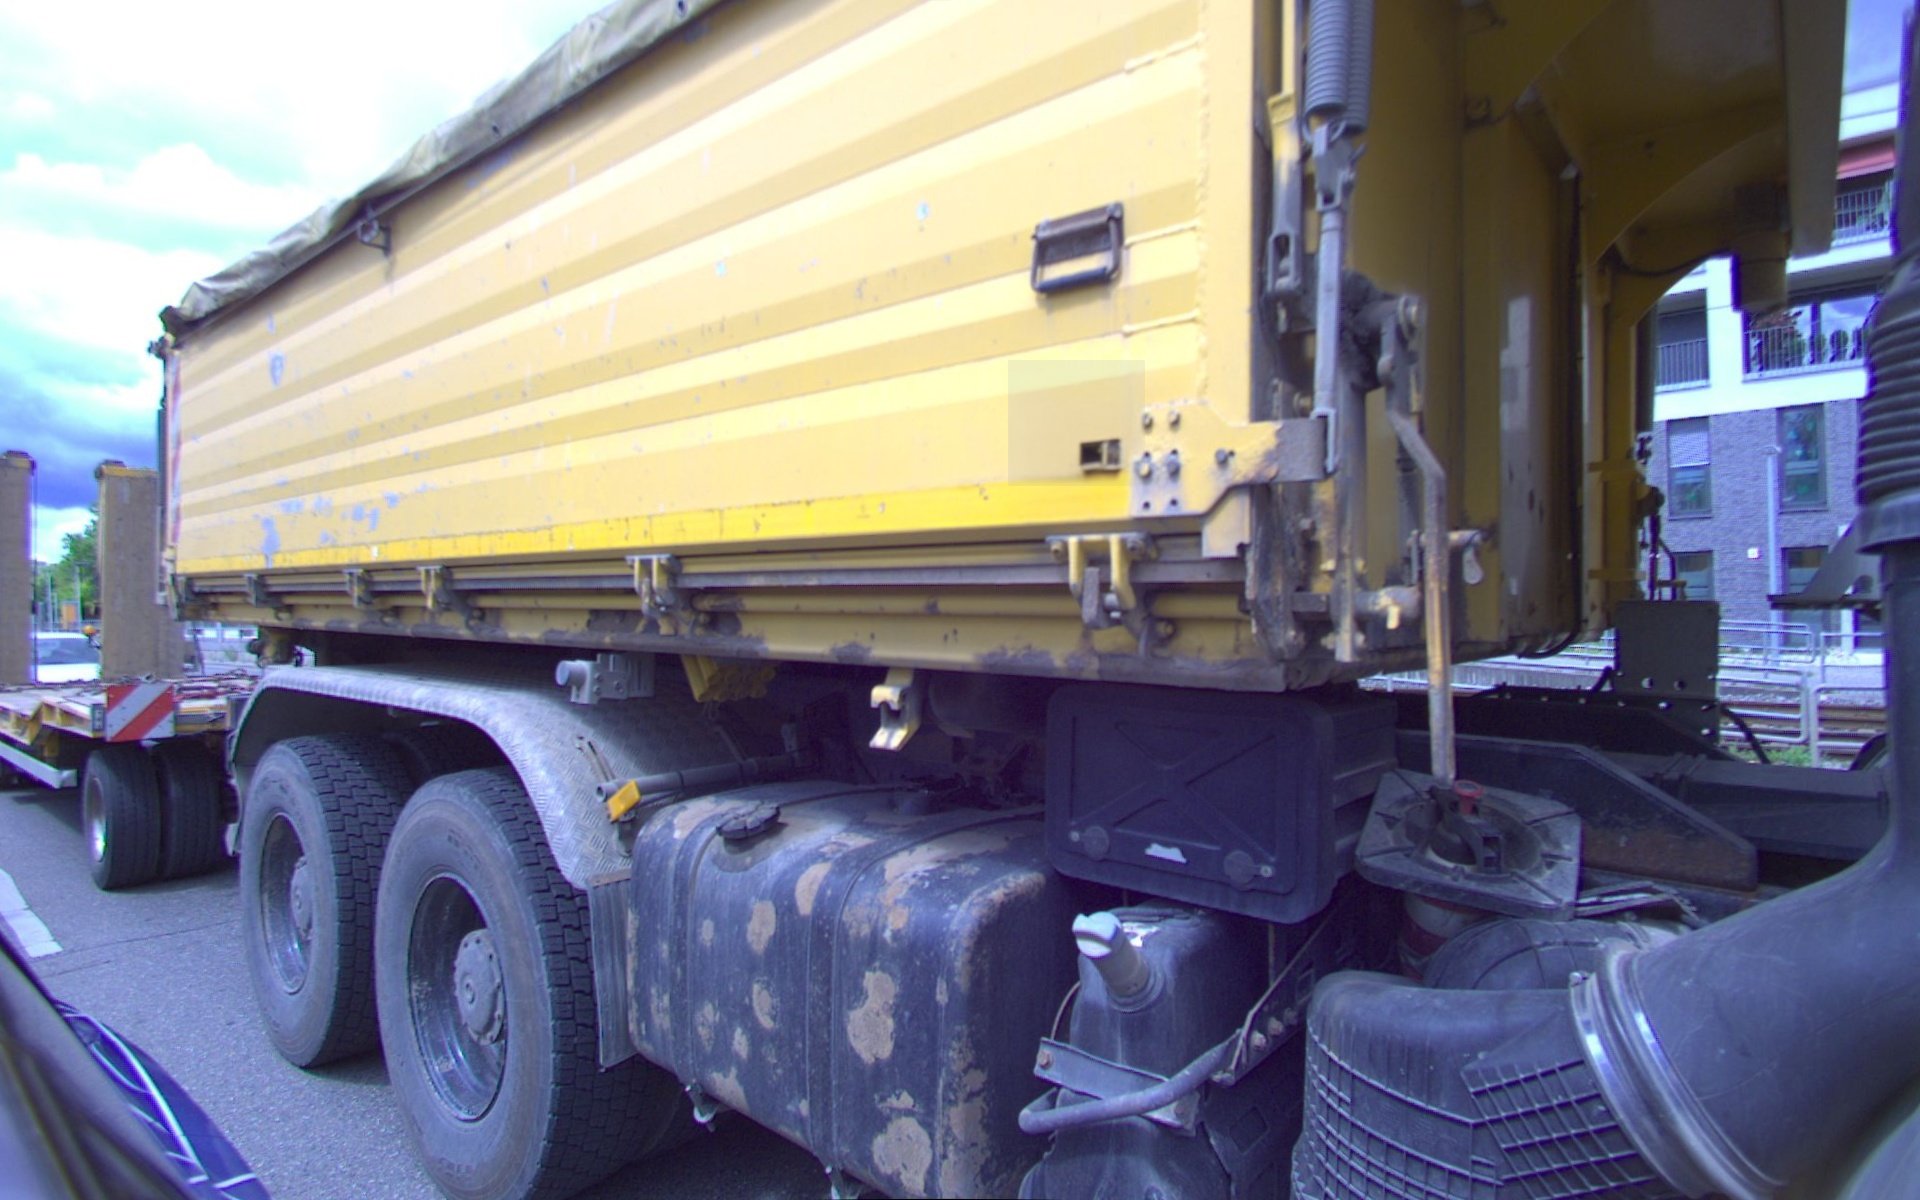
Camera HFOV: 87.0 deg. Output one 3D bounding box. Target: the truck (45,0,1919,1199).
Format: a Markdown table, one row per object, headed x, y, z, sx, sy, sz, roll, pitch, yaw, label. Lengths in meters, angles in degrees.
| x | y | z | sx | sy | sz | roll | pitch | yaw | label |
| --- | --- | --- | --- | --- | --- | --- | --- | --- | --- |
| 0.207 | -0.227 | 2.809 | 7.999 | 3.420 | 3.019 | -2 | -1 | 40 | truck |

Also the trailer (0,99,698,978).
| x | y | z | sx | sy | sz | roll | pitch | yaw | label |
| --- | --- | --- | --- | --- | --- | --- | --- | --- | --- |
| -6.876 | -0.141 | 8.996 | 10.957 | 3.726 | 3.018 | -2 | -1 | 40 | trailer |

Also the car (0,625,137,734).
| x | y | z | sx | sy | sz | roll | pitch | yaw | label |
| --- | --- | --- | --- | --- | --- | --- | --- | --- | --- |
| -14.004 | 1.130 | 15.362 | 3.784 | 1.427 | 1.761 | -2 | -1 | 41 | car |
